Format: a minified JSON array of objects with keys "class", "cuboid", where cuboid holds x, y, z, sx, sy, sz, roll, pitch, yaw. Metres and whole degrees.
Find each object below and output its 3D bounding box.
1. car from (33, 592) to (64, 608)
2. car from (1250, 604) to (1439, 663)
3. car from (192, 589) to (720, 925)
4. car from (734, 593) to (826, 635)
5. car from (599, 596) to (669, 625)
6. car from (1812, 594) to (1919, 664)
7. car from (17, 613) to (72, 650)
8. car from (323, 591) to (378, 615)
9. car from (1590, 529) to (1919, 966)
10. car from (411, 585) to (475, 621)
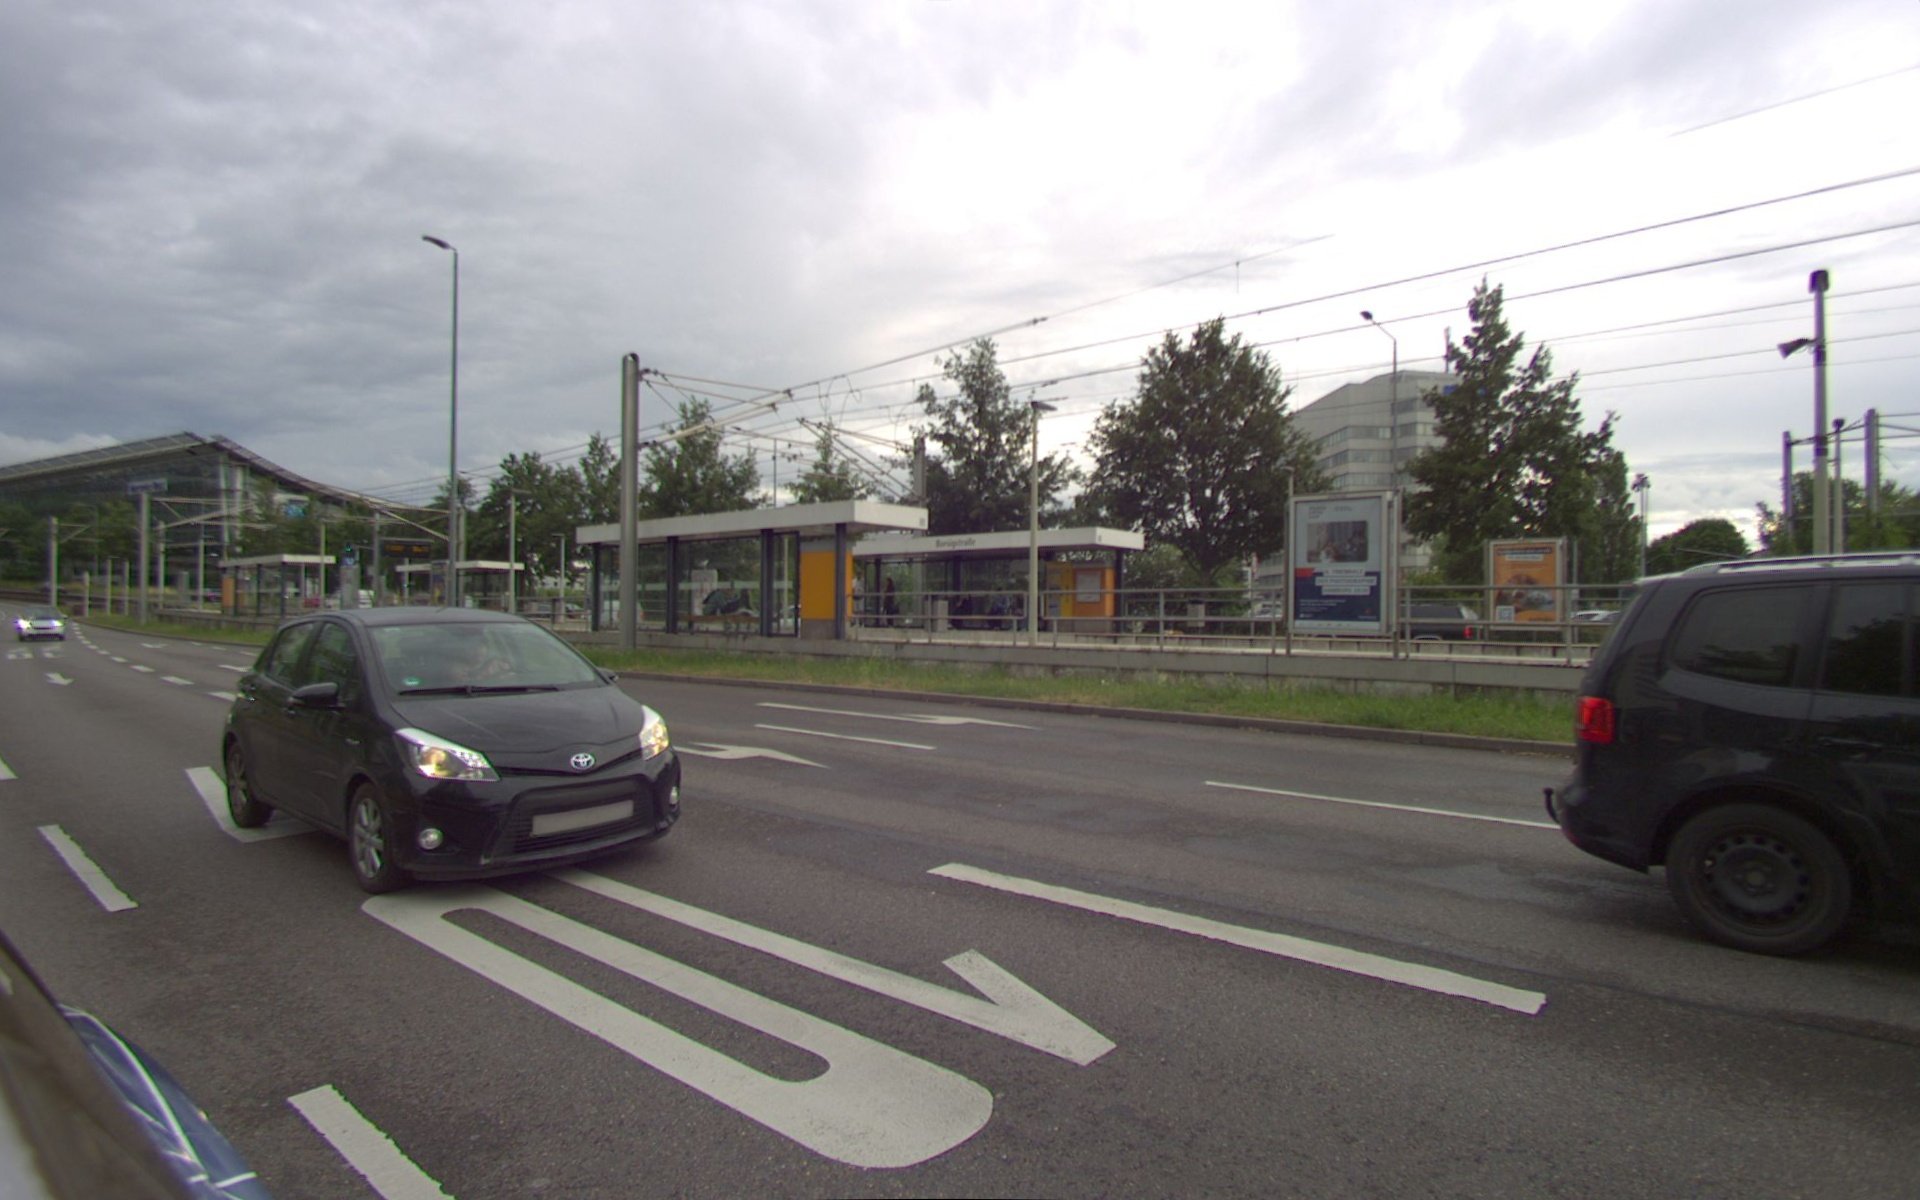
[{"class":"car","cuboid":[-104.291,-0.015,115.813,3.995,1.861,1.975,0,2,38]},{"class":"car","cuboid":[11.155,0.920,29.594,4.930,1.509,1.660,1,2,42]},{"class":"car","cuboid":[-3.422,0.775,6.545,3.902,1.534,1.675,-2,-2,41]},{"class":"car","cuboid":[-7.761,0.578,43.432,4.266,1.679,1.512,1,2,41]},{"class":"car","cuboid":[-20.464,0.624,63.447,4.663,1.712,2.083,1,2,41]},{"class":"car","cuboid":[23.361,0.680,24.555,4.078,1.639,1.556,0,1,39]},{"class":"car","cuboid":[-40.568,1.367,44.875,1.714,1.489,4.005,-1,1,-42]},{"class":"car","cuboid":[-45.698,0.206,75.799,5.026,1.744,1.974,0,2,40]},{"class":"car","cuboid":[4.863,0.519,3.631,4.192,1.604,1.708,0,1,42]},{"class":"car","cuboid":[-33.768,0.167,66.004,5.142,2.231,1.972,1,2,42]}]
